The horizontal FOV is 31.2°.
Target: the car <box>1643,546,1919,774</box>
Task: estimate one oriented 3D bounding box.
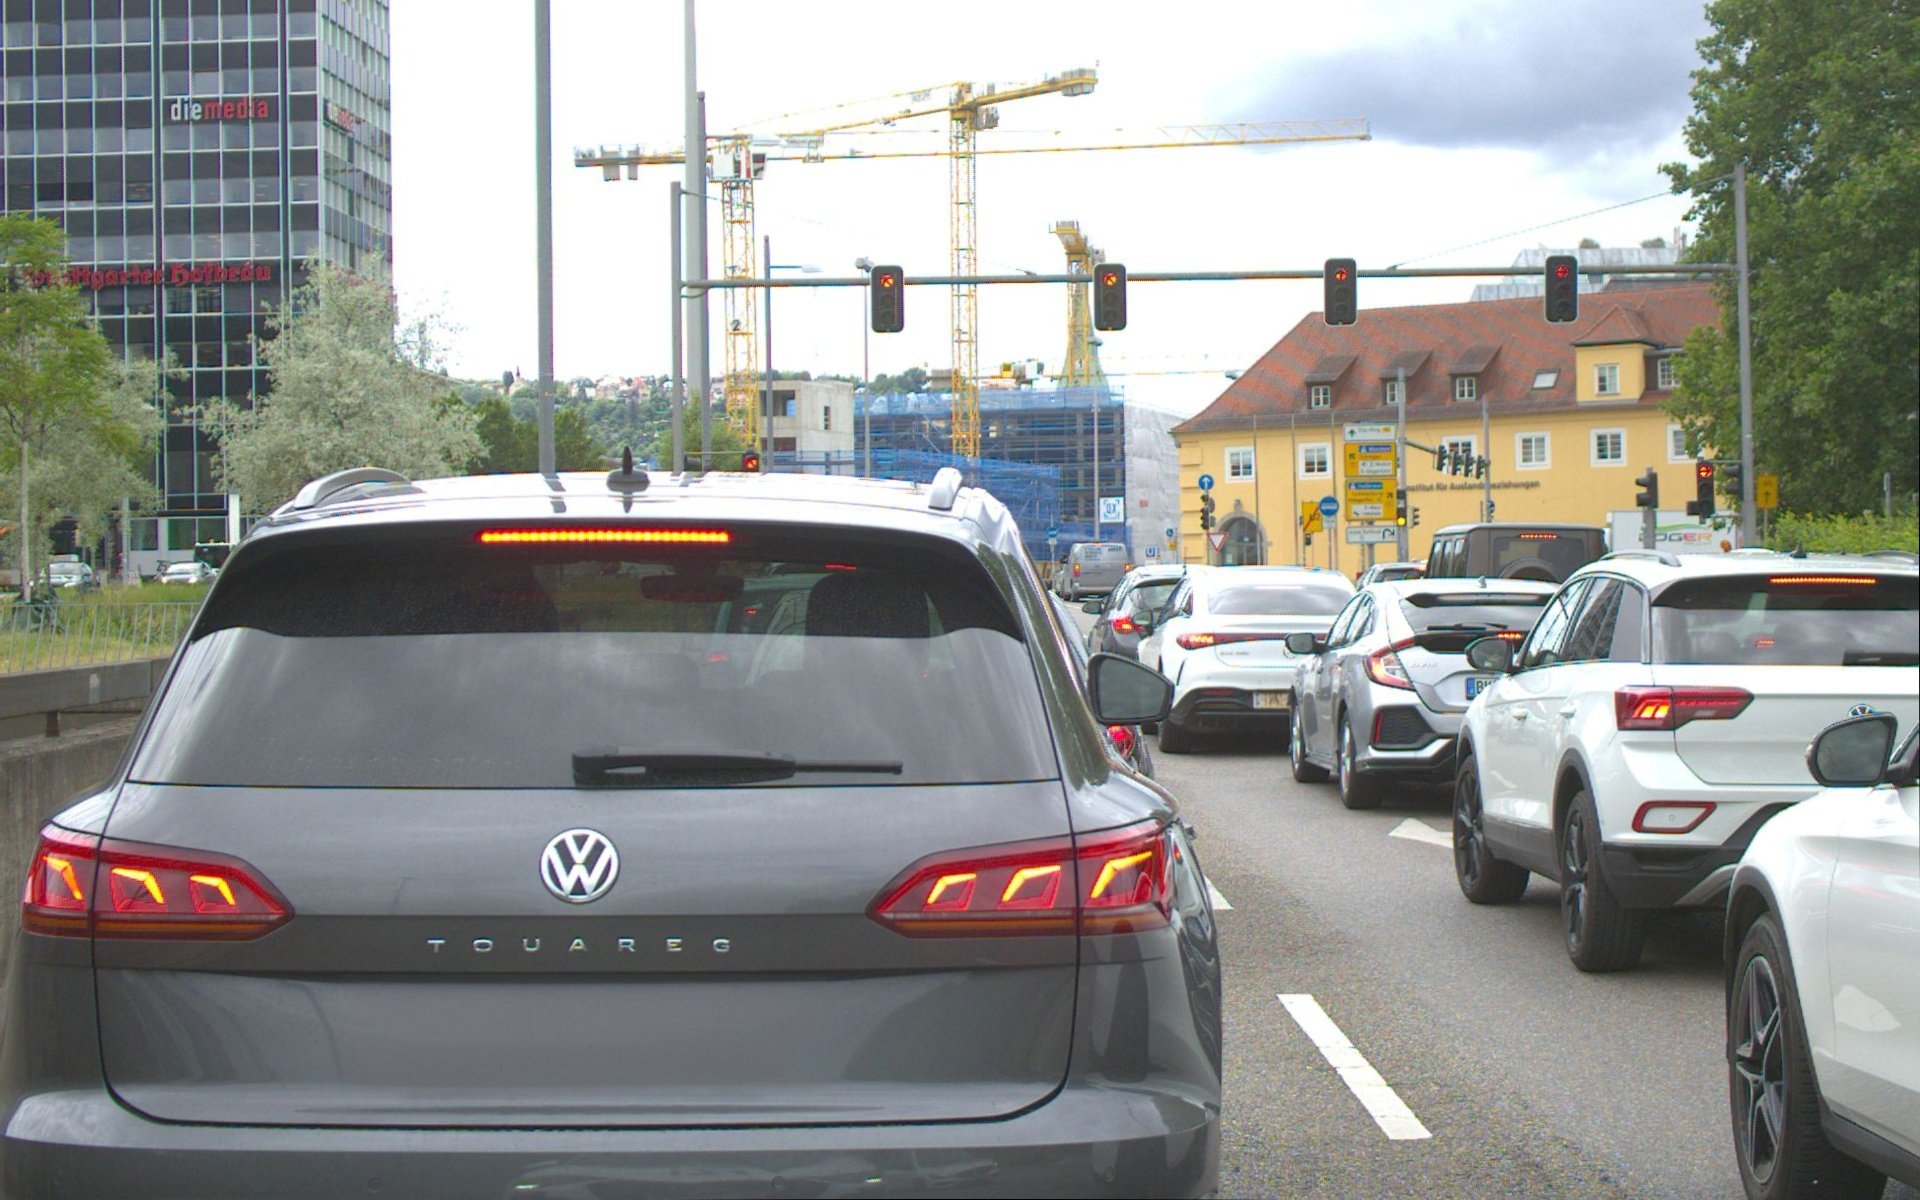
[{"bbox_3d":[6.741,0.401,26.867,1.993,1.634,4.304,0,1,1],"label":"car"}]

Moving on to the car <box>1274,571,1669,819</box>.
[{"bbox_3d":[3.175,0.547,22.205,1.926,1.427,4.489,0,0,1],"label":"car"}]

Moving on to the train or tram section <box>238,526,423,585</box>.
[{"bbox_3d":[-34.009,-2.396,185.599,10.411,2.999,2.592,1,-1,28],"label":"train or tram section"}]

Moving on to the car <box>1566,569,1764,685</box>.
[{"bbox_3d":[9.342,0.343,45.788,1.757,1.442,3.634,1,0,-2],"label":"car"}]

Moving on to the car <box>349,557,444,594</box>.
[{"bbox_3d":[-25.503,-1.128,155.546,4.222,1.598,1.749,1,0,36],"label":"car"}]

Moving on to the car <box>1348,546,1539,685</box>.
[{"bbox_3d":[6.229,0.188,44.698,1.910,1.691,4.012,1,0,0],"label":"car"}]

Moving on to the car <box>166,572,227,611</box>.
[{"bbox_3d":[-30.350,-0.328,136.794,1.732,1.489,3.595,1,-1,-2],"label":"car"}]

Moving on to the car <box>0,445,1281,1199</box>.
[{"bbox_3d":[-0.570,0.592,6.667,1.951,1.646,4.000,0,1,-1],"label":"car"}]

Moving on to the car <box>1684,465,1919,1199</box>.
[{"bbox_3d":[2.732,0.576,6.265,1.926,1.648,4.490,0,1,1],"label":"car"}]

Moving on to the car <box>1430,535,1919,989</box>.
[{"bbox_3d":[3.163,0.555,13.997,1.926,1.545,4.489,0,0,1],"label":"car"}]

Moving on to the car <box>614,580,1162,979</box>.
[{"bbox_3d":[-0.288,0.639,14.405,1.951,1.379,3.931,1,1,-1],"label":"car"}]

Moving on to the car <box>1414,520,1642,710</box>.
[{"bbox_3d":[6.393,0.154,39.117,1.910,2.007,4.012,1,0,0],"label":"car"}]

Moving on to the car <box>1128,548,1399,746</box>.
[{"bbox_3d":[2.467,0.358,28.929,1.926,1.524,4.489,0,0,1],"label":"car"}]

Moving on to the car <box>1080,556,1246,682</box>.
[{"bbox_3d":[2.556,0.229,44.038,1.926,1.524,4.047,0,0,1],"label":"car"}]

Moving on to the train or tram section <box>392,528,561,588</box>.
[{"bbox_3d":[-25.471,-2.215,181.042,8.935,2.999,2.592,1,-1,28],"label":"train or tram section"}]

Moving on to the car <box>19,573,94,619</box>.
[{"bbox_3d":[-30.950,-0.138,117.830,1.732,1.489,3.595,1,-1,-2],"label":"car"}]

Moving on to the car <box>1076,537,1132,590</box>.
[{"bbox_3d":[4.656,-1.168,111.463,1.619,1.622,4.000,1,-1,0],"label":"car"}]

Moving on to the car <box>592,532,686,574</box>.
[{"bbox_3d":[-16.320,-2.395,174.763,4.454,2.007,1.996,1,-1,34],"label":"car"}]

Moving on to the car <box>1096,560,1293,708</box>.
[{"bbox_3d":[2.512,0.347,37.750,1.926,1.524,4.047,0,0,1],"label":"car"}]

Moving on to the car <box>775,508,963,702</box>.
[{"bbox_3d":[-0.997,0.034,38.565,1.951,2.011,3.931,1,1,-1],"label":"car"}]

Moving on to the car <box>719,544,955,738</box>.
[{"bbox_3d":[-1.068,0.326,31.033,1.951,1.594,3.931,1,1,-1],"label":"car"}]
